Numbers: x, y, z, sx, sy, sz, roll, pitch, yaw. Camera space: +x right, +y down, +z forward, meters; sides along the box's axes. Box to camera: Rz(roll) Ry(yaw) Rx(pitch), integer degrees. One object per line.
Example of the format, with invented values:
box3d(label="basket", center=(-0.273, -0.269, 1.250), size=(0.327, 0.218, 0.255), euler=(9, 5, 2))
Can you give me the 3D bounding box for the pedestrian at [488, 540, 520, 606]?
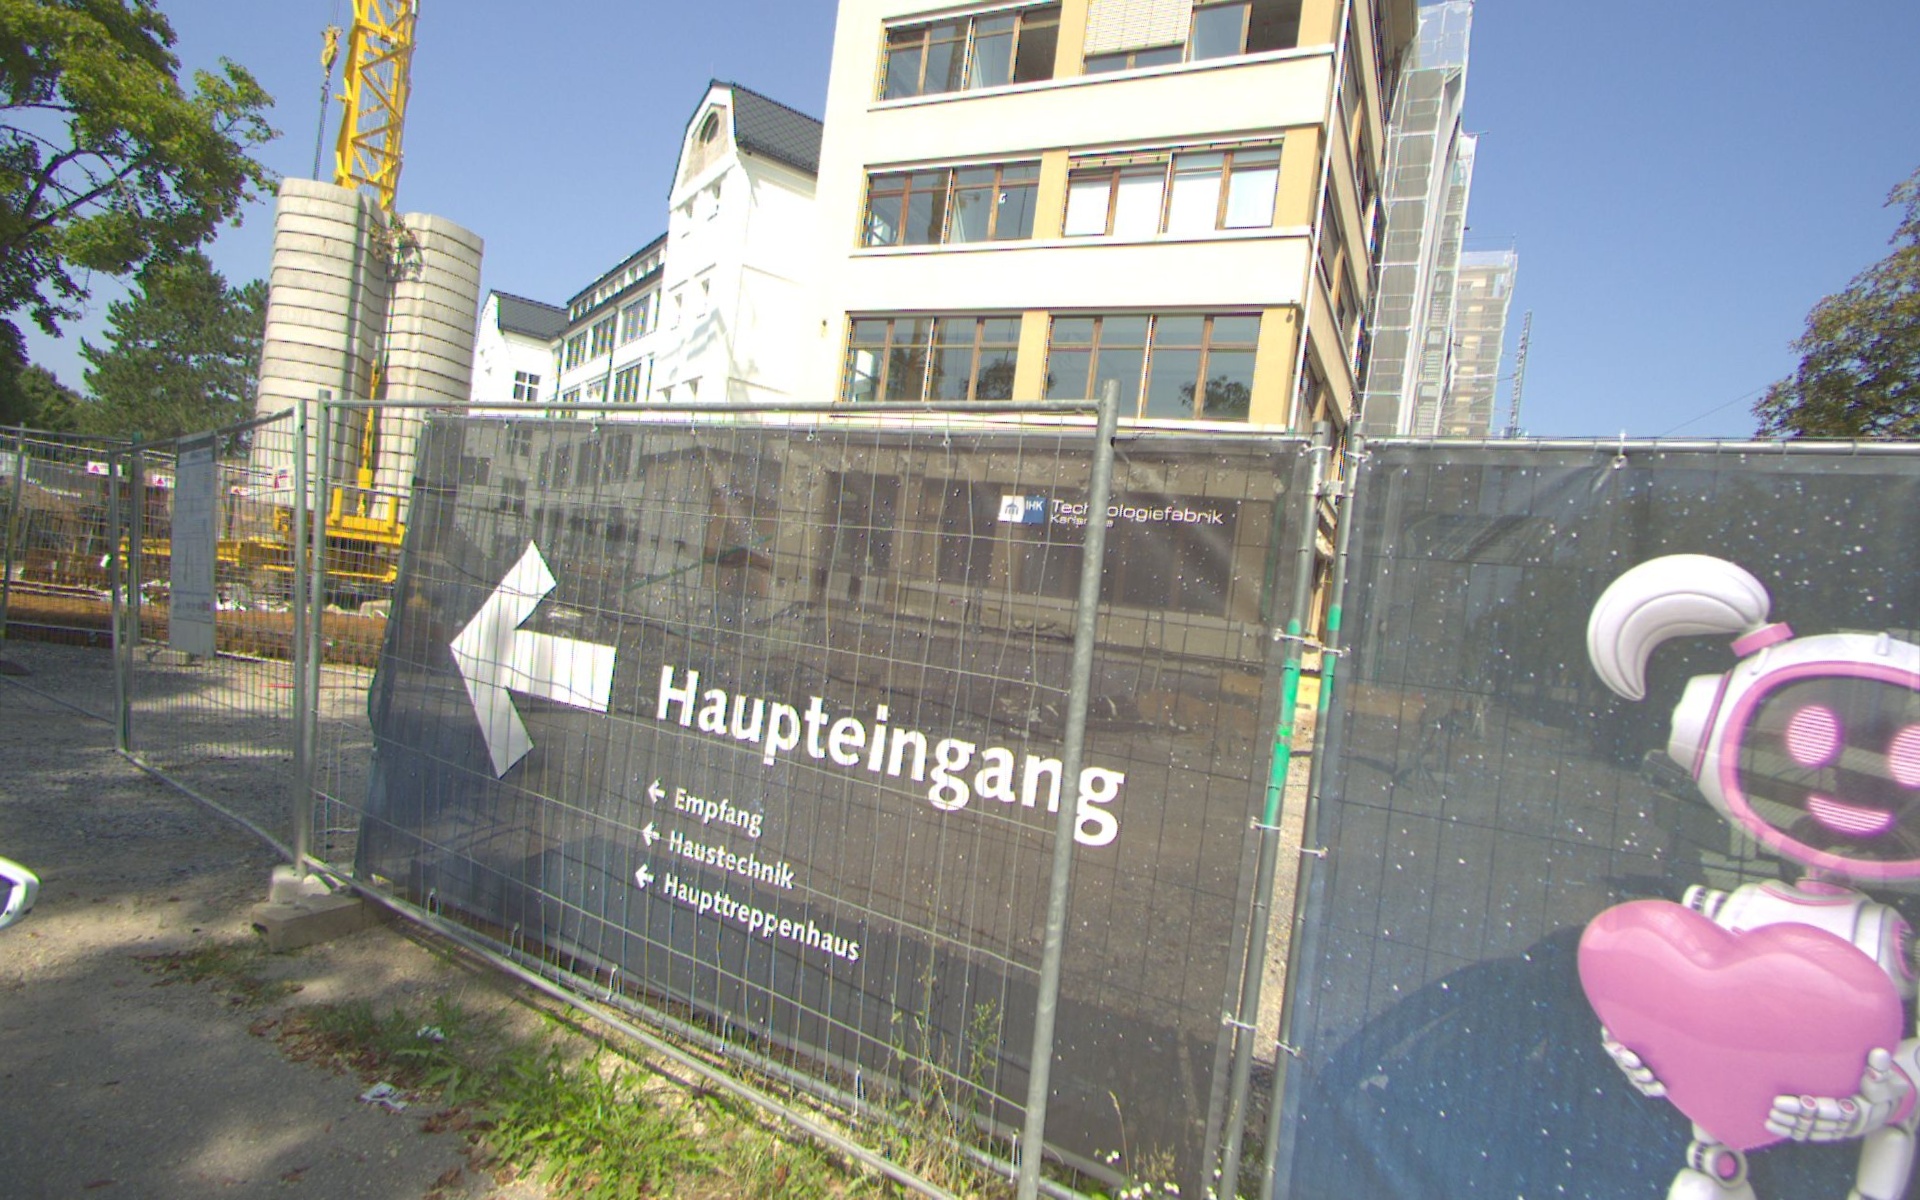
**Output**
box3d(label="pedestrian", center=(-11.229, -0.676, 24.764), size=(0.518, 1.546, 0.492), euler=(7, 1, -28))
